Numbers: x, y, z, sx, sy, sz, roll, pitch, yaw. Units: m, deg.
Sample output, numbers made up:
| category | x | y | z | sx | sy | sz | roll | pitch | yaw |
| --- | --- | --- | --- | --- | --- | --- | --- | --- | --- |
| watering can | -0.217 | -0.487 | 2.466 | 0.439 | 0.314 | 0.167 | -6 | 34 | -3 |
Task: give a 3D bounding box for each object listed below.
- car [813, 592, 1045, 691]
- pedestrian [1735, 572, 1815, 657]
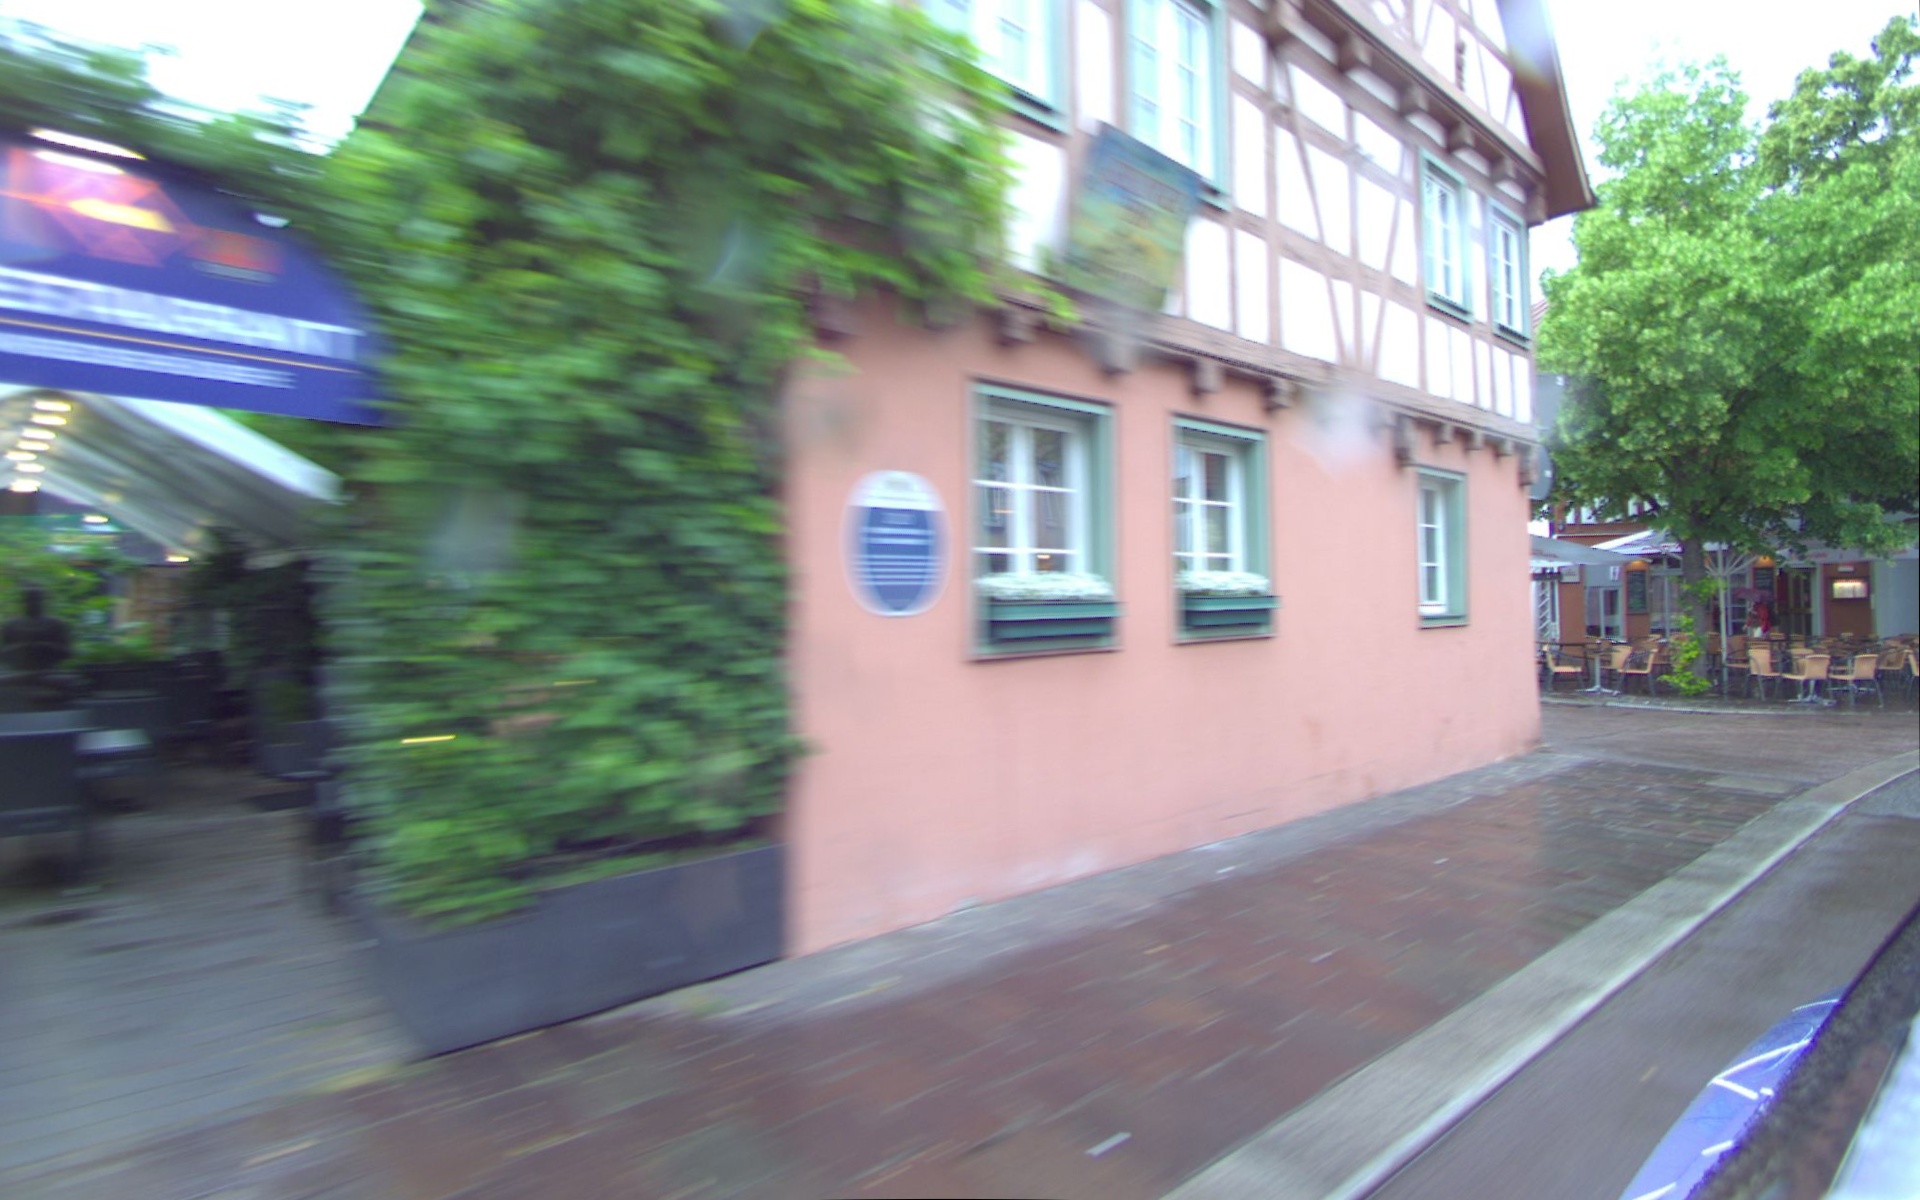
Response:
| category | x | y | z | sx | sy | sz | roll | pitch | yaw |
| --- | --- | --- | --- | --- | --- | --- | --- | --- | --- |
| car | -0.713 | 0.715 | 19.358 | 1.965 | 1.654 | 4.608 | 2 | -1 | -41 |
| pedestrian | 17.260 | 0.300 | 21.454 | 0.874 | 1.735 | 0.886 | -3 | -1 | 4 |
